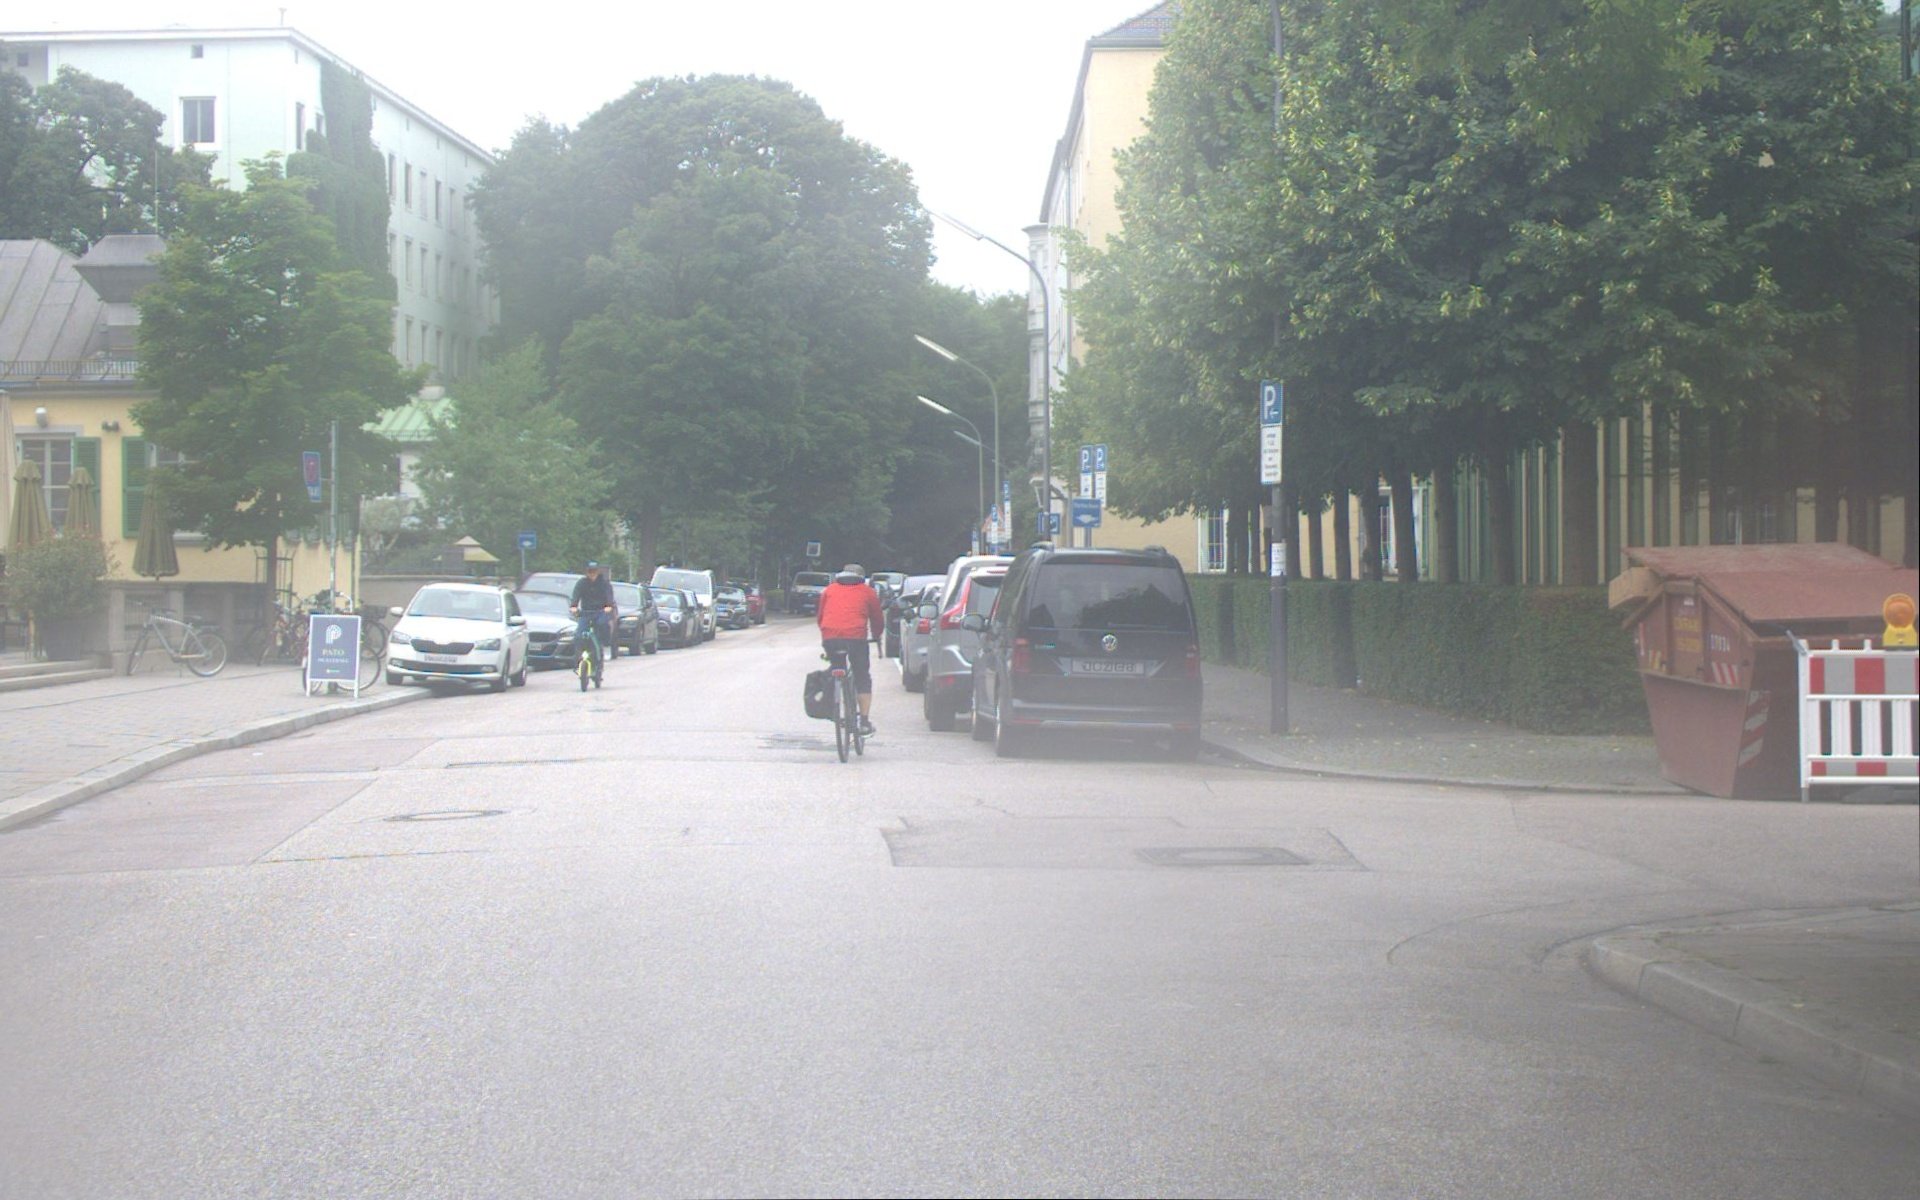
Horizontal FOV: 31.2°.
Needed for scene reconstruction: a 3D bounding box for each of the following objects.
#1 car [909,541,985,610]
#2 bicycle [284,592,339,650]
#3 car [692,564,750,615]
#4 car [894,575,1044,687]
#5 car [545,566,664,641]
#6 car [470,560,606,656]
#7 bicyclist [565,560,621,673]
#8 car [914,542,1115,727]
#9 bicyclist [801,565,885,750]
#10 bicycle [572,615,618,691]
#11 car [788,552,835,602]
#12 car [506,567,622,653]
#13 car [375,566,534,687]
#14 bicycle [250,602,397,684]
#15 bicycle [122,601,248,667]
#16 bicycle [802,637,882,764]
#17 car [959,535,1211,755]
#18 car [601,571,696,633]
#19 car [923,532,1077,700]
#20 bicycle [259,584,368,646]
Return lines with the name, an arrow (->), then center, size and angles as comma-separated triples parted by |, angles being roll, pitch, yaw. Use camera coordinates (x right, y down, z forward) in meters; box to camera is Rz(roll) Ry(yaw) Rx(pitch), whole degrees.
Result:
car -> -0.424, -0.752, 104.865 | 1.993, 2.053, 4.624 | 1, 1, -4
bicycle -> -11.437, 0.369, 60.631 | 0.621, 1.001, 1.618 | 1, -1, 1
car -> -8.054, -0.385, 116.156 | 1.810, 1.677, 4.000 | 0, 1, -2
car -> 0.077, 0.388, 47.325 | 1.863, 1.435, 4.256 | 1, 1, -2
car -> -7.594, 0.051, 73.858 | 1.993, 1.481, 4.000 | 2, 1, 1
car -> -7.536, 0.115, 61.773 | 1.993, 1.643, 4.656 | 0, 1, -2
bicyclist -> -5.131, 0.221, 48.106 | 0.743, 1.570, 0.977 | 0, 1, -5
car -> 0.499, 0.301, 35.584 | 1.863, 1.788, 4.510 | 0, 1, -2
bicyclist -> -0.963, 0.475, 28.364 | 0.671, 1.492, 1.095 | 0, -1, -2
bicycle -> -5.093, 0.725, 48.078 | 0.621, 1.001, 2.140 | 0, 1, -5
car -> -6.642, -1.039, 154.047 | 1.993, 2.091, 4.000 | 3, 1, -2
car -> -7.656, 0.202, 66.830 | 1.993, 1.597, 4.000 | 0, 0, -3
car -> -7.182, 0.356, 49.176 | 1.733, 1.576, 3.788 | 3, 0, -2
bicycle -> -8.234, 0.555, 44.579 | 0.622, 1.001, 2.136 | 3, 1, 29
bicycle -> -10.969, 0.474, 48.673 | 1.613, 0.922, 0.651 | 0, -1, -29
bicycle -> -0.967, 0.808, 28.261 | 0.621, 1.001, 2.140 | 0, -1, -2
car -> 1.046, 0.352, 30.785 | 1.760, 1.817, 4.140 | 1, 1, -4
car -> -7.656, 0.025, 84.759 | 1.993, 1.481, 4.000 | 0, 1, 0
car -> 0.437, 0.154, 41.801 | 1.749, 1.936, 4.228 | 0, 1, -1
bicycle -> -10.447, 0.246, 55.569 | 1.613, 1.001, 0.623 | 0, -1, -34
